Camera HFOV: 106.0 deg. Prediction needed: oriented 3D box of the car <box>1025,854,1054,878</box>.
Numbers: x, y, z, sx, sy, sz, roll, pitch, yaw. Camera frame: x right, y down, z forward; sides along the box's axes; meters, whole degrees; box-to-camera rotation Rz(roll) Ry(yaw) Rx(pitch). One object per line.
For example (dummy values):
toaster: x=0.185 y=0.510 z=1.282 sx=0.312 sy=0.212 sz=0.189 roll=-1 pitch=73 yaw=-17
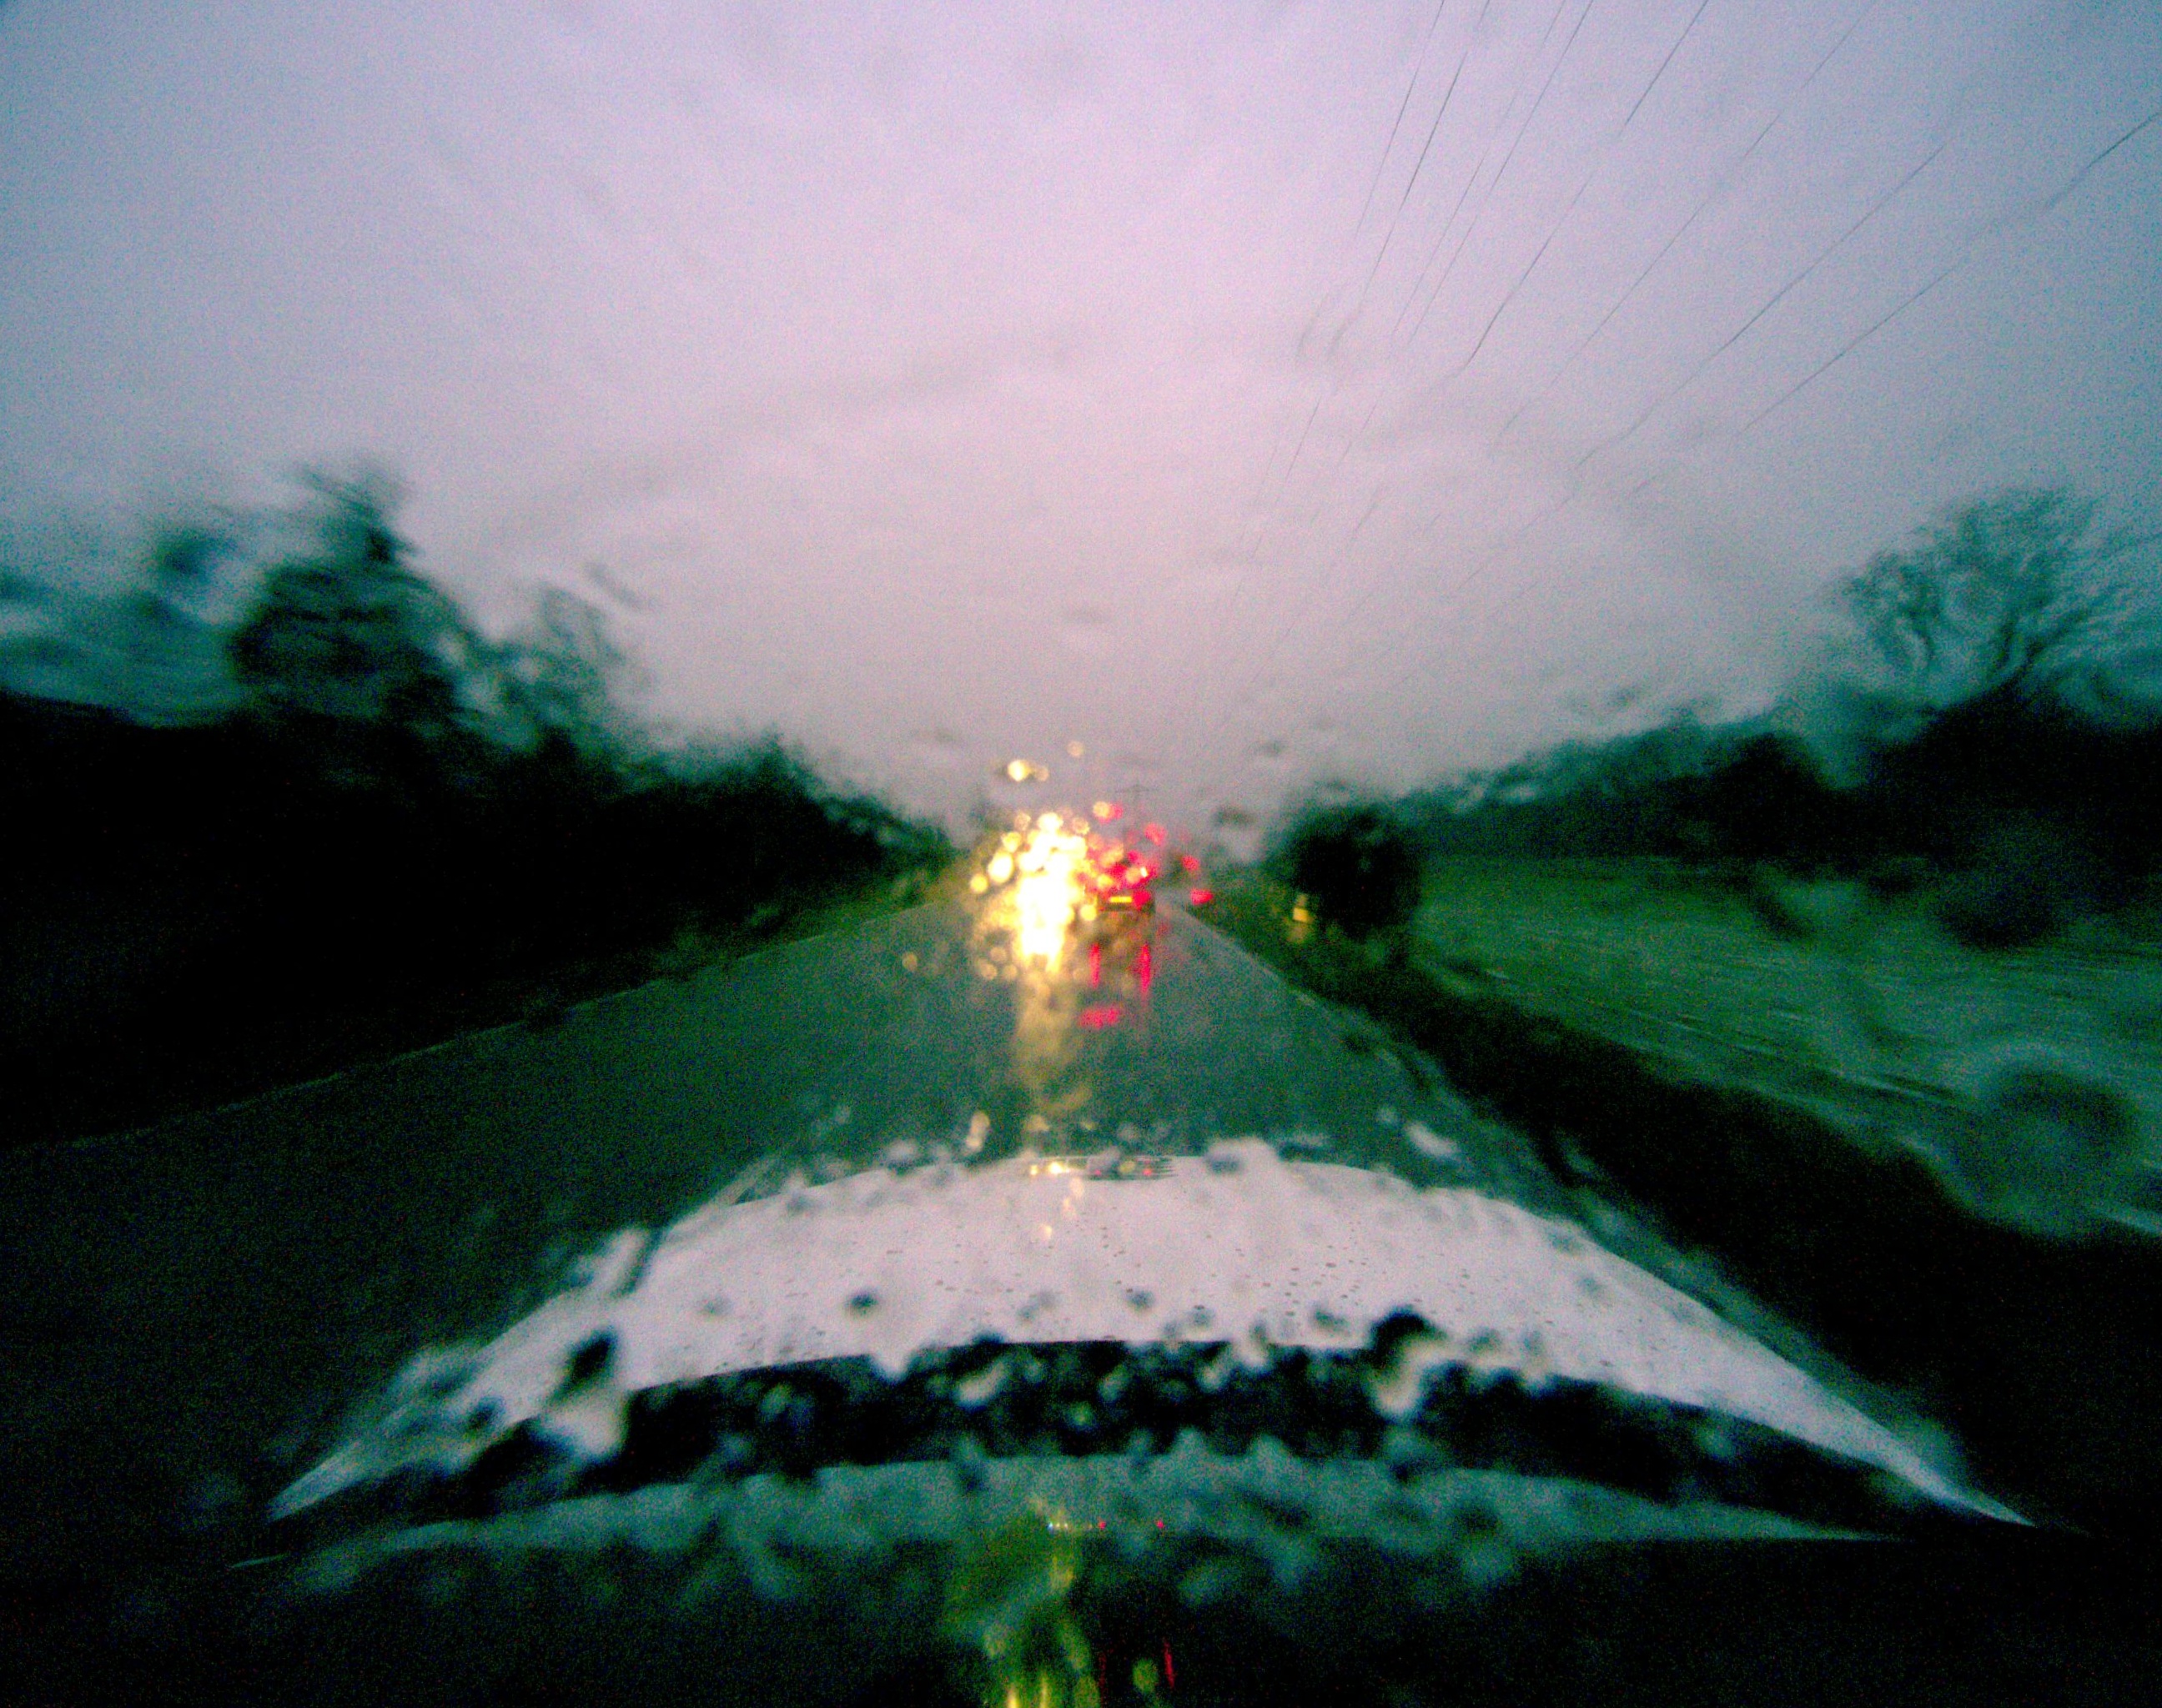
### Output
car: x=-2.960 y=0.831 z=58.803 sx=1.763 sy=1.591 sz=4.165 roll=-1 pitch=0 yaw=1

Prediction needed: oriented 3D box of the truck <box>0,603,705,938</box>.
truck: x=-28.080 y=-1.816 z=30.947 sx=7.514 sy=7.713 sz=40.168 roll=-1 pitch=0 yaw=2

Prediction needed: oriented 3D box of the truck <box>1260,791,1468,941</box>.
truck: x=6.556 y=0.260 z=20.338 sx=2.525 sy=2.978 sz=7.858 roll=-1 pitch=0 yaw=1

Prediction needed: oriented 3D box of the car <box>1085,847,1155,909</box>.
car: x=0.918 y=0.566 z=20.408 sx=1.496 sy=1.398 sz=3.197 roll=-1 pitch=0 yaw=-2

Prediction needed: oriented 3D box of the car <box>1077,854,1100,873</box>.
car: x=0.582 y=0.773 z=68.829 sx=1.764 sy=1.591 sz=4.161 roll=-1 pitch=0 yaw=-2

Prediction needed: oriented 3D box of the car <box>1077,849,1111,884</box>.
car: x=0.738 y=0.723 z=48.611 sx=1.847 sy=2.014 sz=3.997 roll=-1 pitch=0 yaw=-2
